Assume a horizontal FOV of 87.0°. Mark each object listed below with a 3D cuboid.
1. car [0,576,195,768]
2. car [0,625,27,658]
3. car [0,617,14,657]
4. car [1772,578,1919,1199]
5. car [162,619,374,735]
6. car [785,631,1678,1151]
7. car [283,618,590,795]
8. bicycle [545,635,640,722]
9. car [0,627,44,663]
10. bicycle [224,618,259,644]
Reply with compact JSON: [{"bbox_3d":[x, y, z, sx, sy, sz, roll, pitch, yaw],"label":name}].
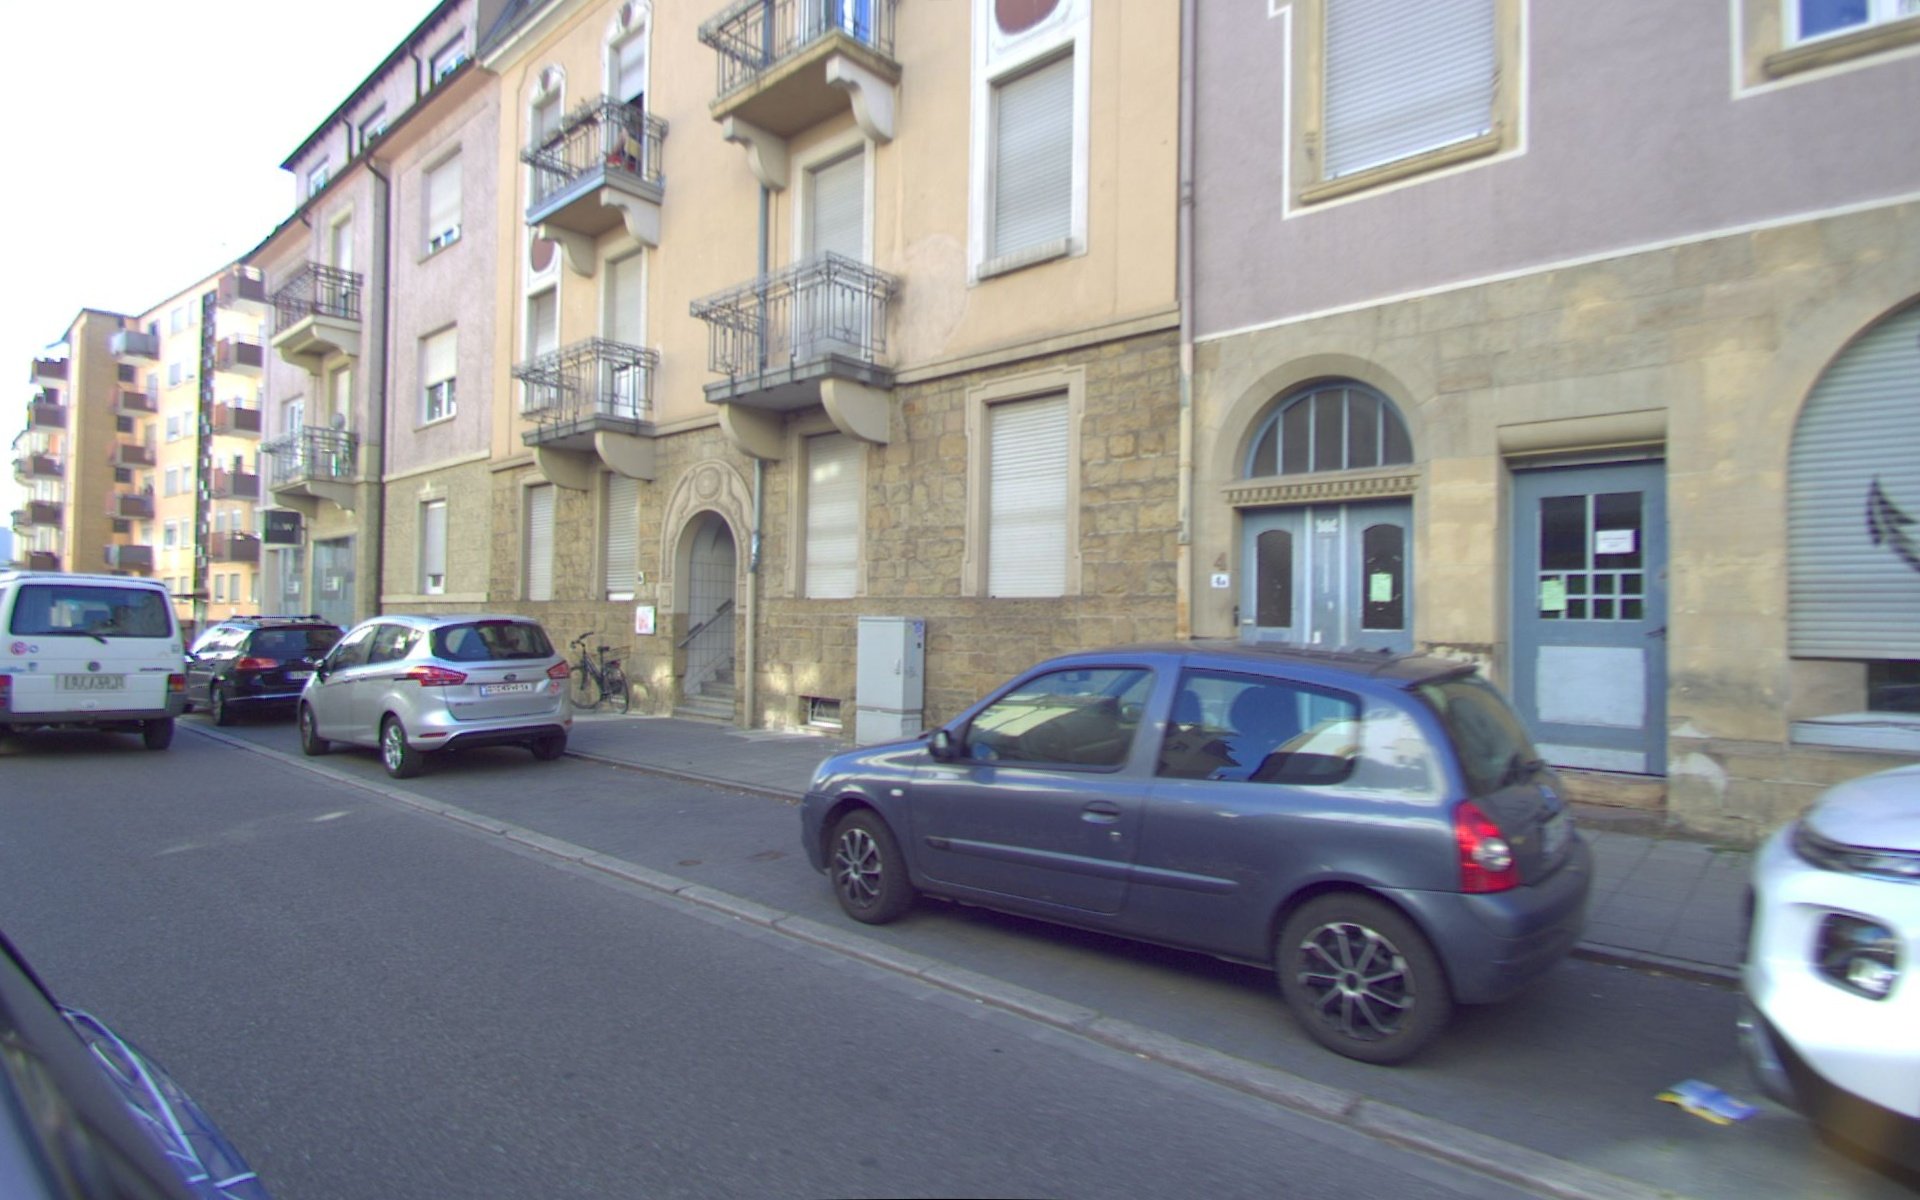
[{"bbox_3d":[-11.093,0.817,12.345,4.598,1.952,1.843,-1,-5,42],"label":"car"},{"bbox_3d":[-42.569,1.809,44.768,3.286,1.433,1.656,-1,-3,43],"label":"car"},{"bbox_3d":[-47.211,1.795,48.953,4.111,1.892,1.798,-1,-3,43],"label":"car"},{"bbox_3d":[3.989,0.717,1.708,4.018,1.595,1.697,-1,1,41],"label":"car"},{"bbox_3d":[-10.617,1.076,15.417,4.109,1.533,1.696,-1,-3,42],"label":"car"},{"bbox_3d":[1.031,0.893,4.731,3.663,1.404,1.655,-1,1,40],"label":"car"},{"bbox_3d":[-5.726,0.997,10.900,3.721,1.550,1.697,-2,-1,41],"label":"car"},{"bbox_3d":[-5.495,1.146,15.087,1.648,1.221,0.562,-1,-3,40],"label":"bicycle"},{"bbox_3d":[-39.145,1.815,41.775,3.500,1.433,1.656,-1,-3,43],"label":"car"},{"bbox_3d":[-31.470,1.337,44.329,1.802,1.116,0.680,-1,-2,36],"label":"bicycle"}]
